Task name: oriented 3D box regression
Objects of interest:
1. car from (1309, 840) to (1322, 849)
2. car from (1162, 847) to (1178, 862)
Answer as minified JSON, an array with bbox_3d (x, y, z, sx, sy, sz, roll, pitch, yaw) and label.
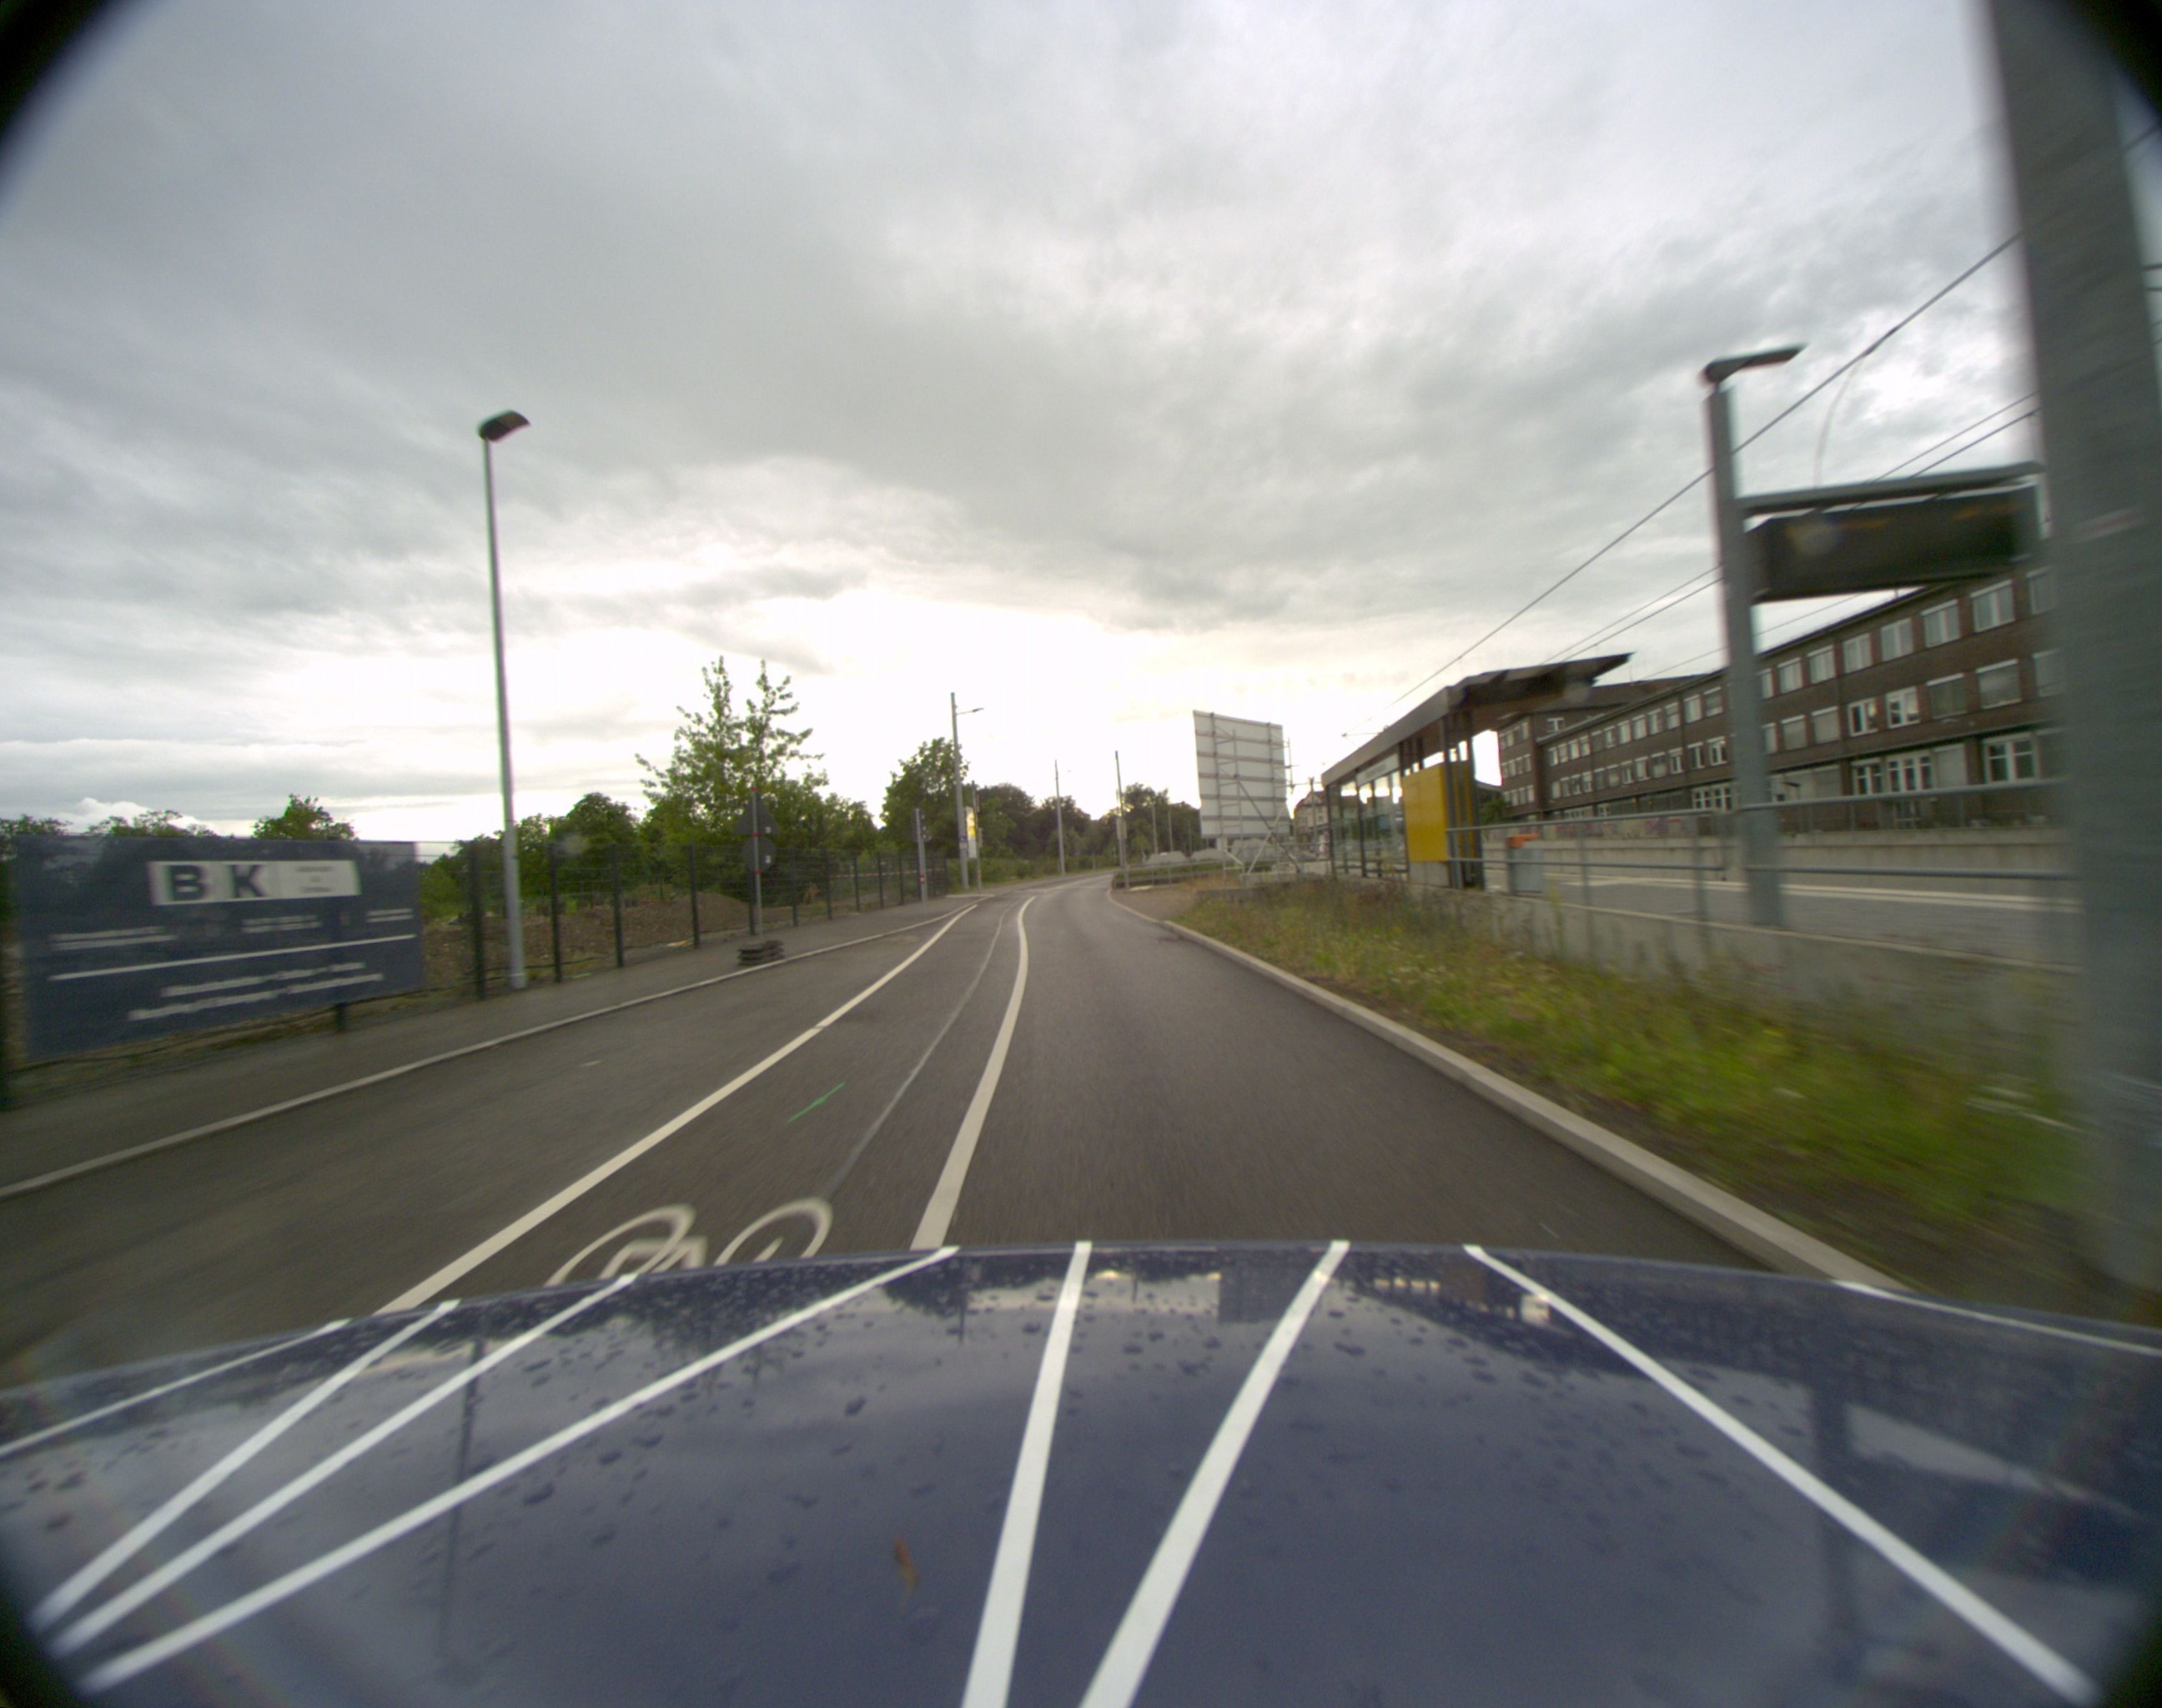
[{"bbox_3d":[51.149,-2.067,166.017,1.997,2.002,4.002,-2,0,8],"label":"car"},{"bbox_3d":[12.198,0.036,104.187,1.997,2.002,4.003,-2,0,9],"label":"car"}]
